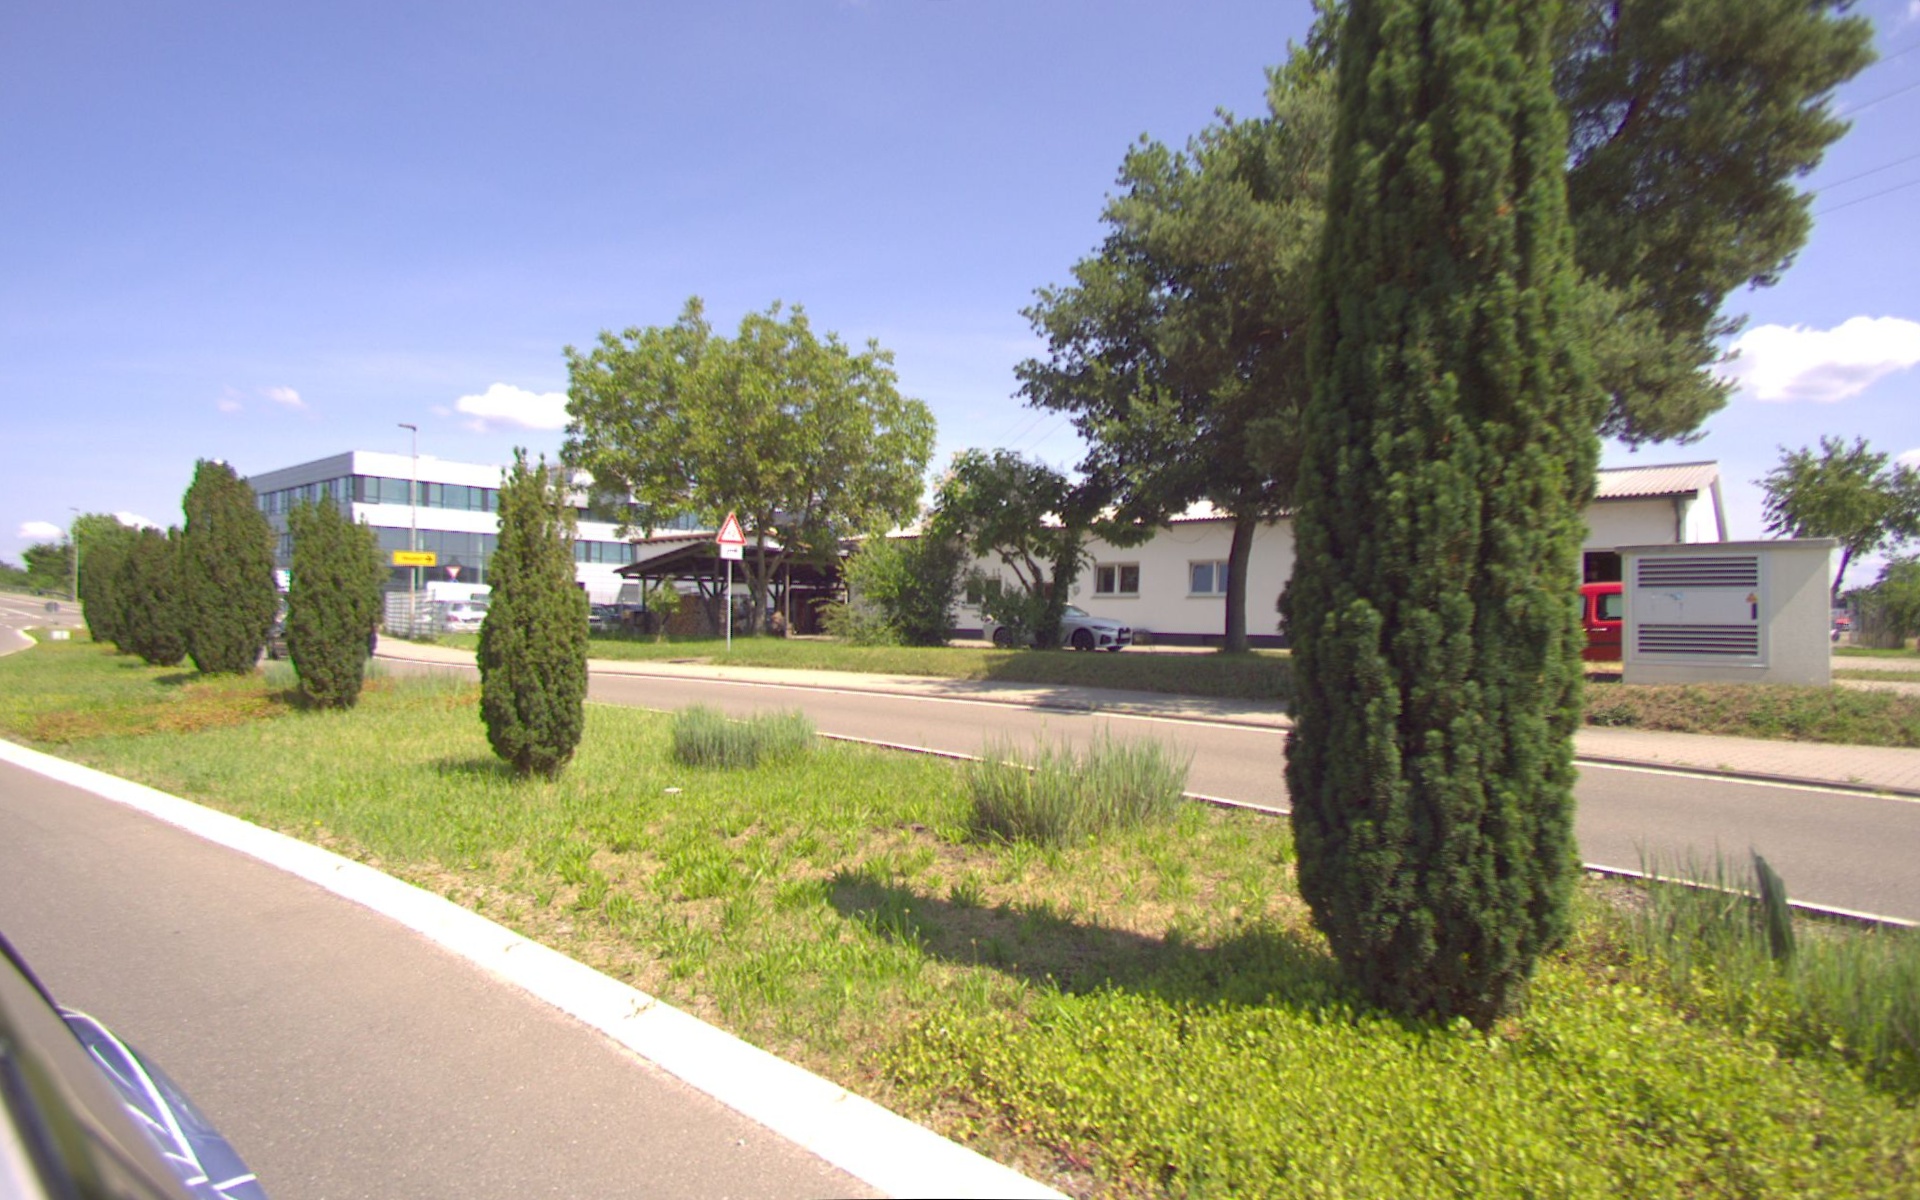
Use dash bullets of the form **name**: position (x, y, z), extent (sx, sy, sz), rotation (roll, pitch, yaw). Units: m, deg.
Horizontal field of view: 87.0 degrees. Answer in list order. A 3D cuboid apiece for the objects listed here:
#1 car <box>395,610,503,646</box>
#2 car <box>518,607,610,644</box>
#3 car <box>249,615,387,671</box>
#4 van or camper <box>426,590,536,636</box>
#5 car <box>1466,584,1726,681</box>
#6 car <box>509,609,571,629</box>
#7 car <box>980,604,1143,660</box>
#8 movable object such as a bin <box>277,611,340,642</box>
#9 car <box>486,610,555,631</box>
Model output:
- **car**: position (-22.907, 1.263, 45.456), extent (3.939, 1.530, 2.002), rotation (2, -1, -43)
- **car**: position (-16.471, 1.016, 42.056), extent (3.999, 1.453, 1.972), rotation (0, -1, 42)
- **car**: position (-17.870, 1.134, 28.080), extent (4.862, 1.404, 1.879), rotation (-1, -1, 41)
- **van or camper**: position (-26.957, 0.757, 57.206), extent (5.491, 2.516, 2.085), rotation (1, -1, -22)
- **car**: position (12.740, 0.621, 20.389), extent (4.225, 1.758, 1.974), rotation (-1, -1, 40)
- **car**: position (-28.650, 1.305, 69.123), extent (3.680, 1.331, 1.906), rotation (1, -1, -15)
- **car**: position (2.918, 0.865, 29.715), extent (4.518, 1.419, 1.971), rotation (1, 1, 44)
- **movable object such as a bin**: position (-52.701, 2.111, 81.809), extent (5.442, 2.428, 2.149), rotation (0, -1, 32)
- **car**: position (-28.960, 1.343, 66.800), extent (3.932, 1.331, 2.006), rotation (1, -1, -15)
